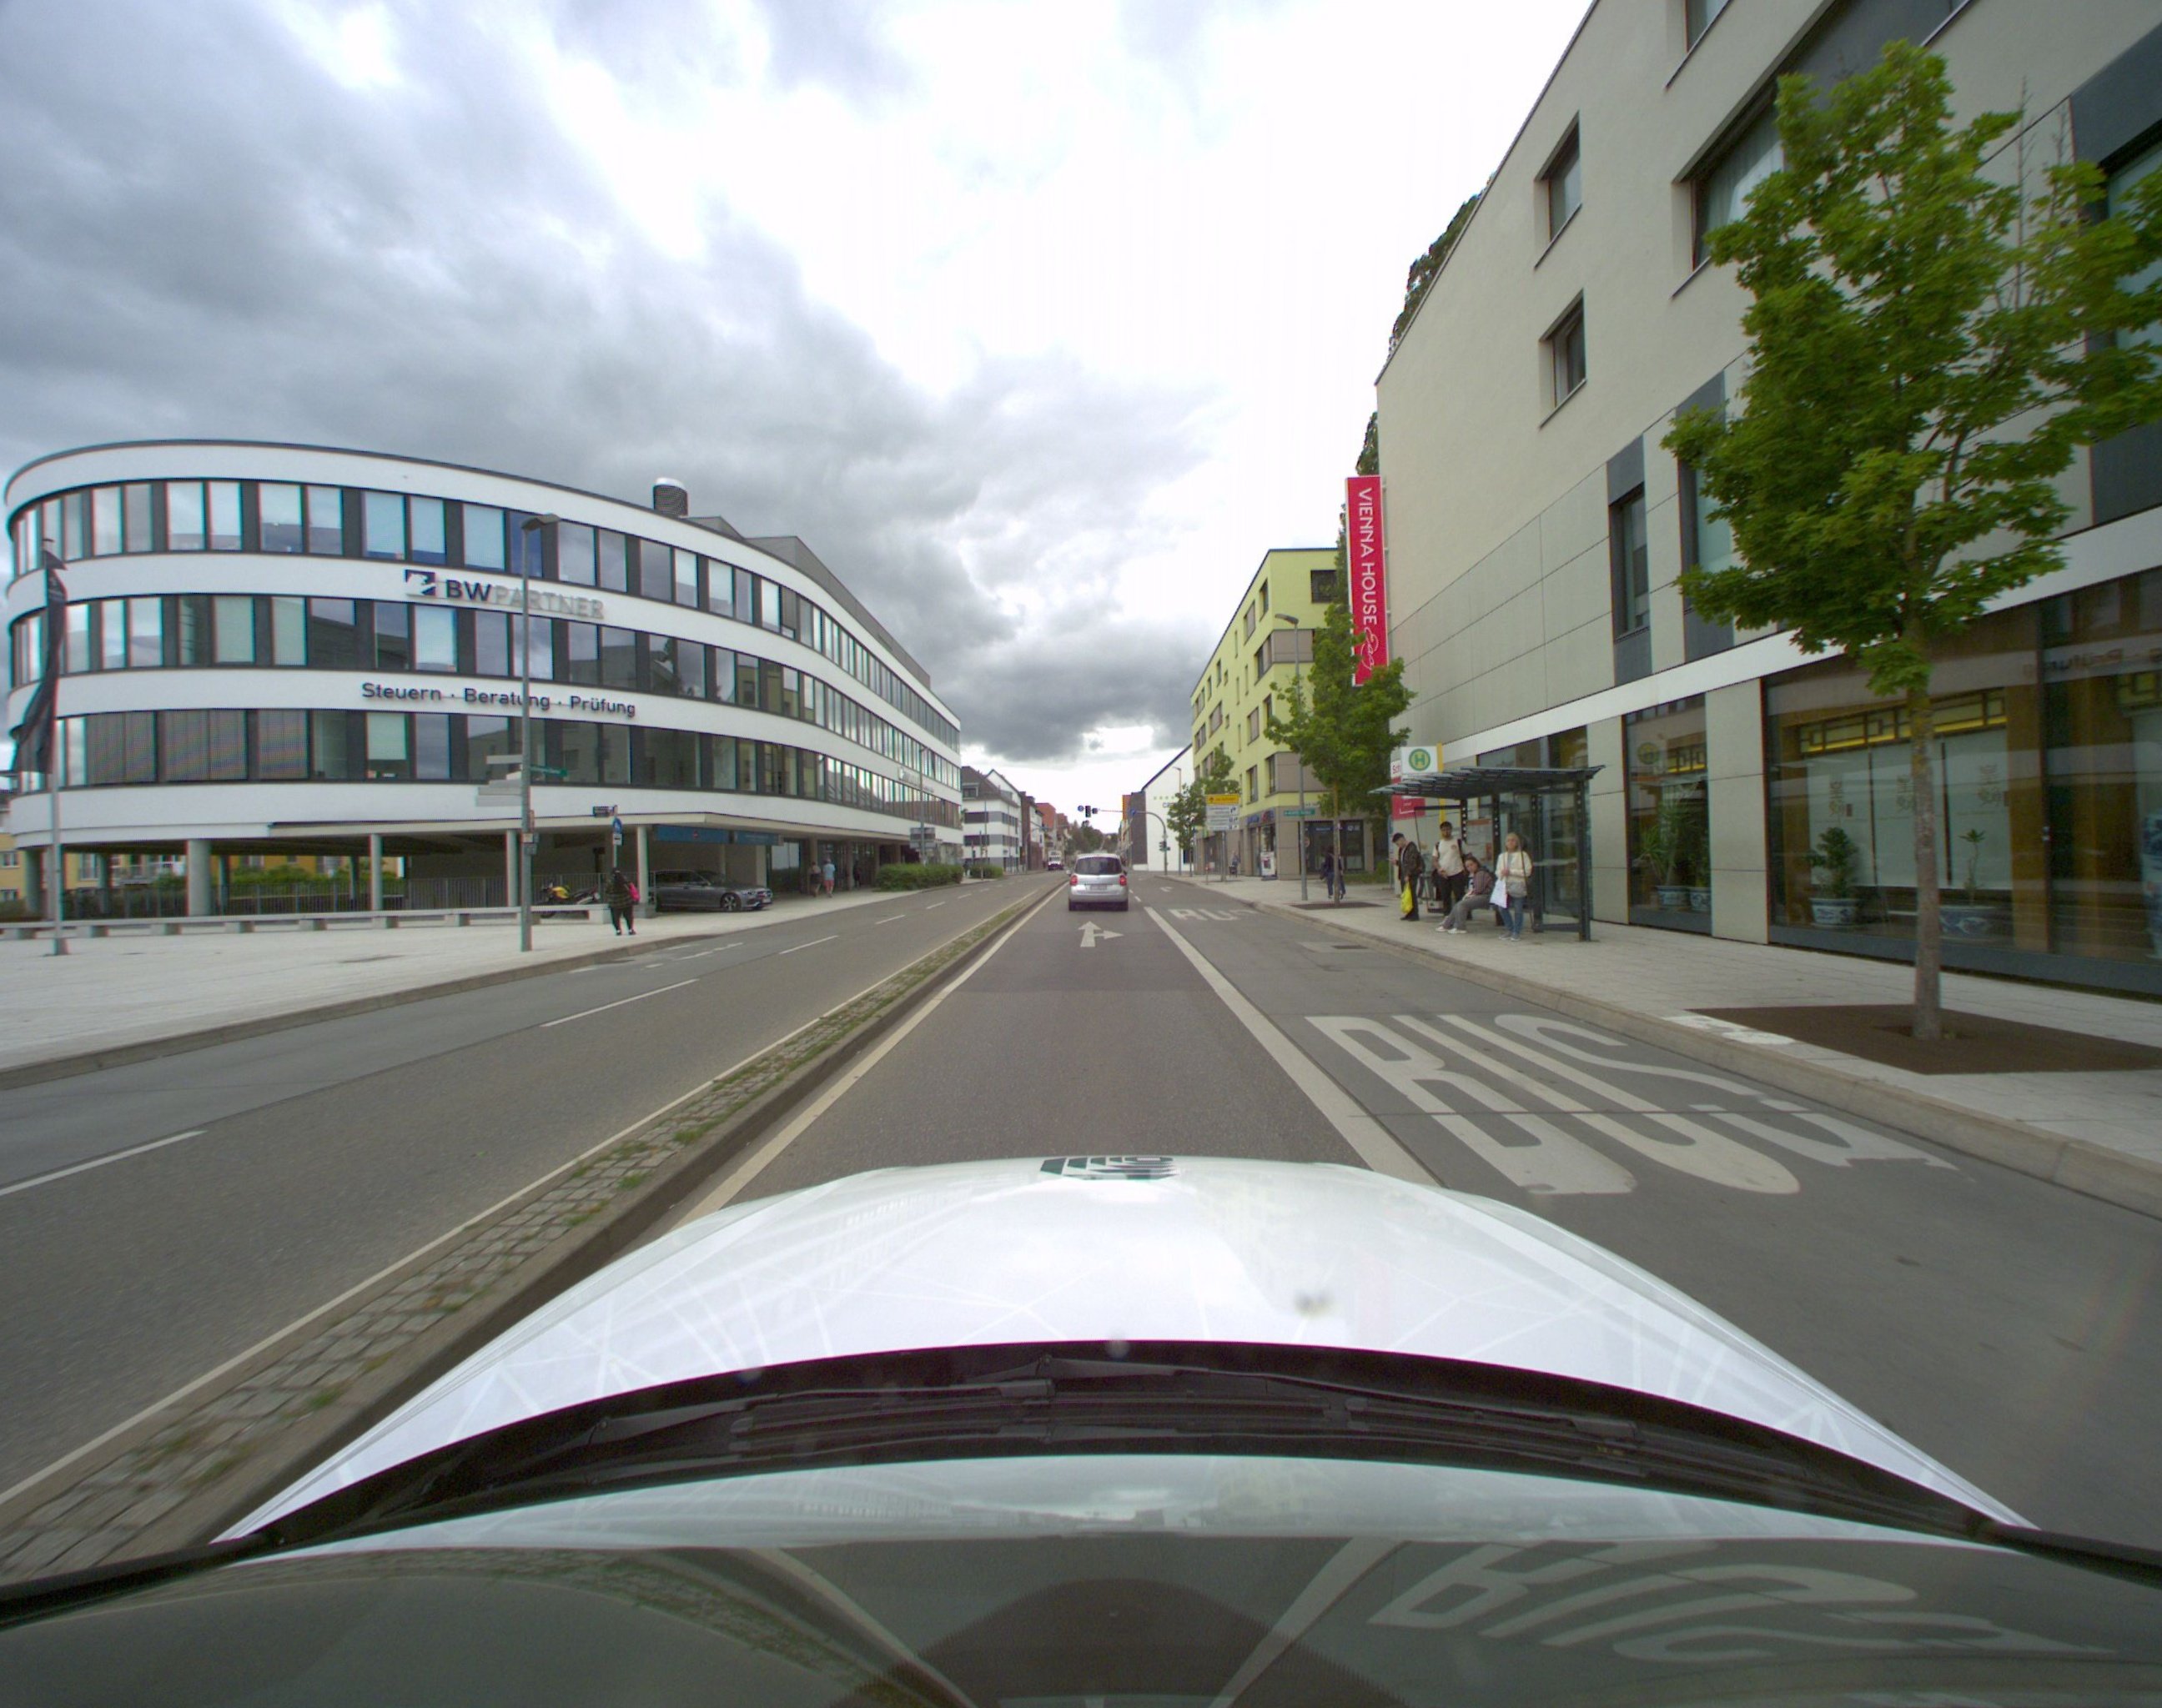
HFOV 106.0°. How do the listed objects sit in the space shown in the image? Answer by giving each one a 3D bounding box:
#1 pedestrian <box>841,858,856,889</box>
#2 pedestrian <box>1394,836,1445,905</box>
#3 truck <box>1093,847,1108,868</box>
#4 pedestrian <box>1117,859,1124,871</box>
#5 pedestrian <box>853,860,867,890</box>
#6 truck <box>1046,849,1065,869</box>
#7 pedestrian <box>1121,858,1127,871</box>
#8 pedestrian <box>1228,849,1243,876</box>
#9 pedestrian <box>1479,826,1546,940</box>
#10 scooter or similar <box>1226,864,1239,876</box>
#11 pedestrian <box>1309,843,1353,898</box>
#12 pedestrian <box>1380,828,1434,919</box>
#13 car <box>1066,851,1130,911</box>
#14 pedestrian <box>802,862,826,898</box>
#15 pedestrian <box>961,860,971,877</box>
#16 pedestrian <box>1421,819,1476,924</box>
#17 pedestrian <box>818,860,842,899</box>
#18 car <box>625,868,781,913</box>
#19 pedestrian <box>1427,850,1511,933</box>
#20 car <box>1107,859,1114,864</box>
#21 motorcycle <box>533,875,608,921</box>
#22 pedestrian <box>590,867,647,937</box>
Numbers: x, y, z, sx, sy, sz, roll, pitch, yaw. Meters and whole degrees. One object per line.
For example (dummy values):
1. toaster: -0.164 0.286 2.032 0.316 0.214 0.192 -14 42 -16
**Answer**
1. pedestrian: -13.338 1.132 46.682 0.500 1.730 0.619 -2 -1 32
2. pedestrian: 8.074 0.389 19.457 0.865 1.583 0.804 -2 -1 0
3. truck: 3.682 0.647 153.461 2.586 3.857 6.851 -1 0 2
4. pedestrian: 5.872 1.687 122.076 0.886 1.787 0.785 -4 0 2
5. pedestrian: -12.539 1.190 46.172 0.617 1.710 0.501 -1 -1 -29
6. truck: -3.917 0.749 125.532 2.426 2.954 8.366 0 0 1
7. pedestrian: 6.287 1.518 119.493 0.804 1.787 0.861 -4 0 2
8. pedestrian: 9.186 0.490 48.503 0.693 1.593 0.603 -3 -1 0
9. pedestrian: 6.277 0.415 11.885 0.576 1.591 0.734 -3 -1 6
10. scooter or similar: 8.860 0.957 47.790 0.590 0.673 0.824 -3 0 0
11. pedestrian: 7.396 0.485 24.150 0.944 1.583 1.016 -2 -1 0
12. pedestrian: 6.226 0.365 15.571 0.717 1.683 0.734 -3 -1 6
13. car: 0.502 0.736 23.774 1.700 1.579 4.001 0 0 1
14. pedestrian: -12.088 1.155 36.905 0.727 1.613 0.932 0 -1 3
15. pedestrian: -11.618 1.459 82.220 0.884 1.669 0.809 -2 2 -18
16. pedestrian: 6.446 0.304 14.319 0.576 1.769 0.858 -3 -1 7
17. pedestrian: -11.201 1.125 36.328 0.727 1.674 0.932 0 -1 3
18. car: -12.775 1.226 27.691 4.435 1.415 1.905 -1 -1 5
19. pedestrian: 6.240 0.591 13.136 0.940 1.259 0.732 -2 -1 -2
20. car: 8.097 2.037 225.332 1.806 1.354 4.002 -2 0 2
21. motorcycle: -15.162 1.298 24.222 1.846 1.333 0.637 0 -1 4
22. pedestrian: -10.705 1.090 18.880 0.826 1.567 0.814 0 -1 6
